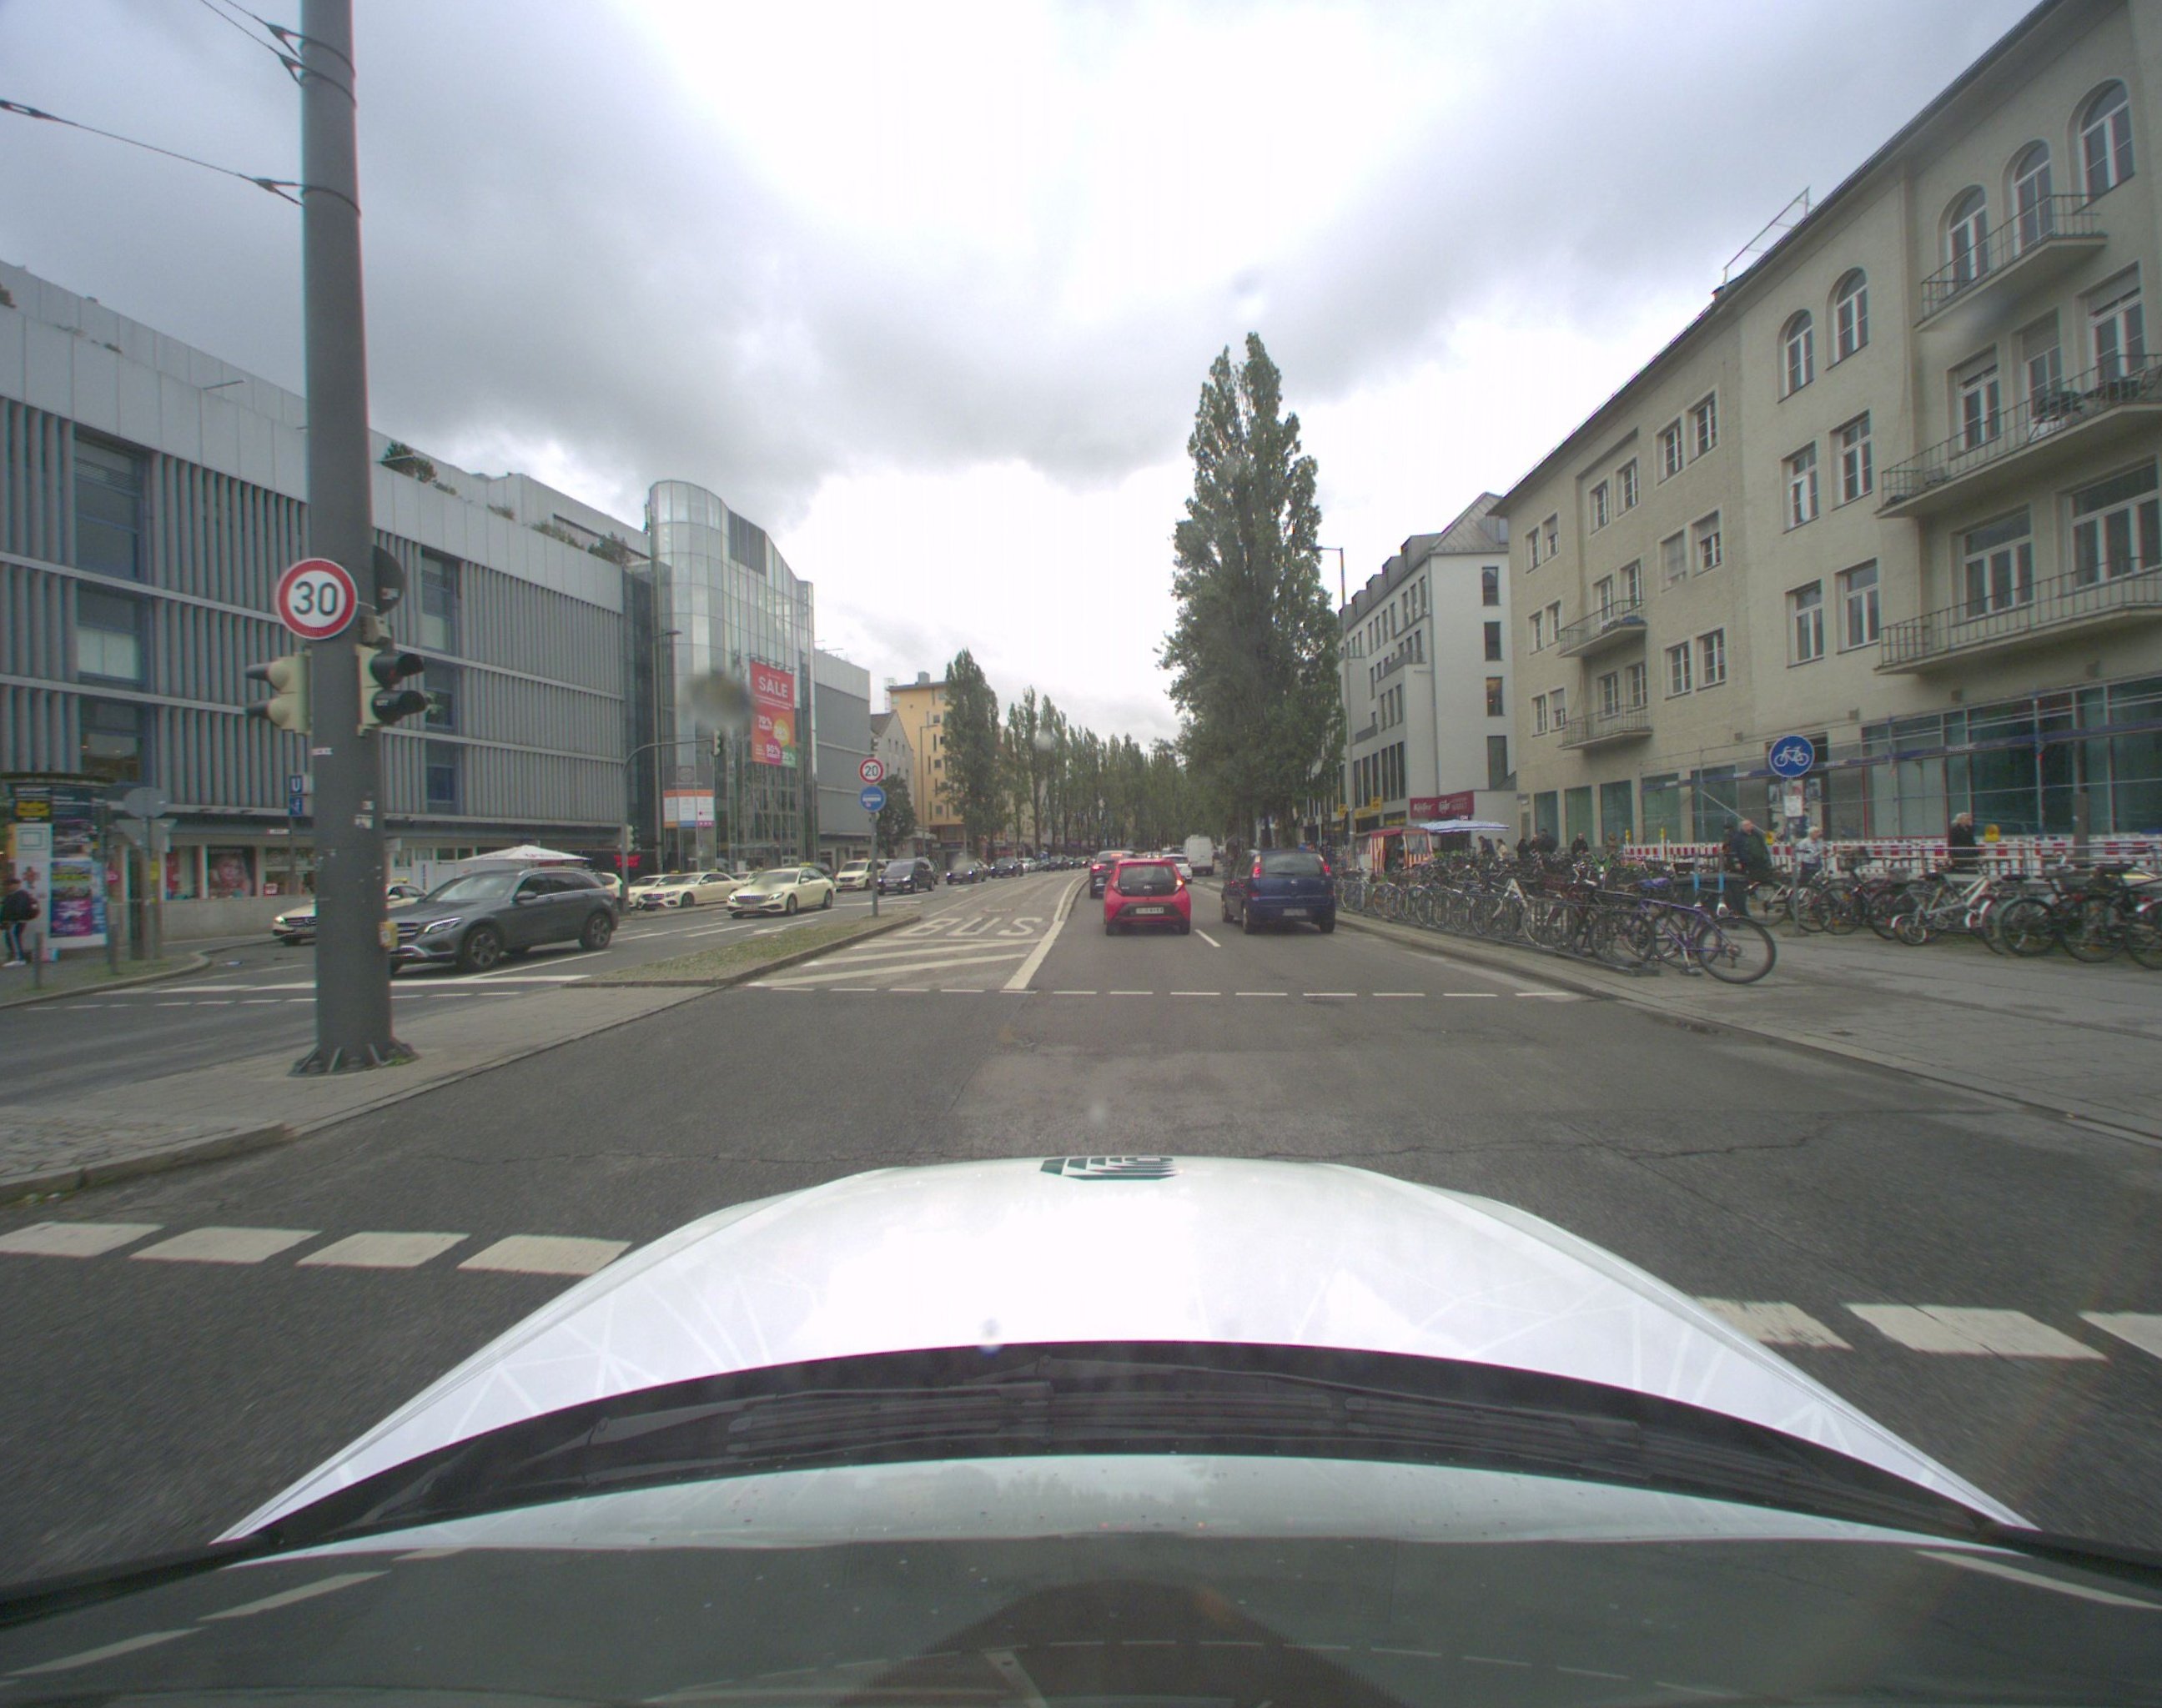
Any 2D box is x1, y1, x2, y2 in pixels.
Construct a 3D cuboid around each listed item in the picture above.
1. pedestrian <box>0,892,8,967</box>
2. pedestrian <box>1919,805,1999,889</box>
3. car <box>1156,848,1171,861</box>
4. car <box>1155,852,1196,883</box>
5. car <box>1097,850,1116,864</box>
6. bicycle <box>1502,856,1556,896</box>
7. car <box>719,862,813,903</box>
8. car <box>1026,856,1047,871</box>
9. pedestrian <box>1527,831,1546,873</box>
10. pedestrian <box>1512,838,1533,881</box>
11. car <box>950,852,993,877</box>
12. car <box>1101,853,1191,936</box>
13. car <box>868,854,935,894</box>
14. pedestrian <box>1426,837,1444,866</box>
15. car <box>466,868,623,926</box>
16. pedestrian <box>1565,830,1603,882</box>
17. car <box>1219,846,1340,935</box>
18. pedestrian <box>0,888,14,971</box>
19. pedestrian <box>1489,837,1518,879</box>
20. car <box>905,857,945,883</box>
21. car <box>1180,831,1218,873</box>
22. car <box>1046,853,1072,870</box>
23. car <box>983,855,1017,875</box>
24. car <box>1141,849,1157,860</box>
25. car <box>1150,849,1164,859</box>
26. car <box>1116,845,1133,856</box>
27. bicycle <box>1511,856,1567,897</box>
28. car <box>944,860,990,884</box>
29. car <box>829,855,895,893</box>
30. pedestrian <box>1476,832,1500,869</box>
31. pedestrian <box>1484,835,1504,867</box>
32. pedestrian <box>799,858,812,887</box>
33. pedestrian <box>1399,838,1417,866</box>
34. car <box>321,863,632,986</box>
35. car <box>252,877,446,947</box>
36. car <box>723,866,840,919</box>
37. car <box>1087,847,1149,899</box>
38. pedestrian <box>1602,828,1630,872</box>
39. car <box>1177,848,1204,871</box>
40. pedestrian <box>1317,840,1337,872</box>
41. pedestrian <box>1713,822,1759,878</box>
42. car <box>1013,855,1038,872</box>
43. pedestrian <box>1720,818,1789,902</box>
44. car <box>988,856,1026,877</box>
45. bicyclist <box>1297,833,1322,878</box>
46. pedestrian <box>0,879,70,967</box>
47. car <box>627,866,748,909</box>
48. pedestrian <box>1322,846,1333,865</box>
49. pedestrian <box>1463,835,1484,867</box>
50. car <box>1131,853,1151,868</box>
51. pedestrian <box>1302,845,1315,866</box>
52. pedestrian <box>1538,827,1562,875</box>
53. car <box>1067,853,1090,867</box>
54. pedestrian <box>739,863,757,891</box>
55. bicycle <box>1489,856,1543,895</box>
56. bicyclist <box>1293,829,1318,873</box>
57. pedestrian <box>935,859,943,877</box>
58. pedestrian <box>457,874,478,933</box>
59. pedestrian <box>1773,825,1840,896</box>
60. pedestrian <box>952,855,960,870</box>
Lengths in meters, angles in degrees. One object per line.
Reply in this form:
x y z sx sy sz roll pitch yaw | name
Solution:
-23.008 1.603 16.787 0.766 1.554 0.753 -2 0 6 | pedestrian
18.046 -0.152 16.754 0.748 1.650 0.758 -3 0 0 | pedestrian
12.074 0.007 118.925 1.982 1.838 4.010 -2 0 9 | car
4.689 0.636 40.887 1.693 1.426 3.498 -2 0 1 | car
3.456 0.384 110.158 1.982 1.691 4.933 -2 0 9 | car
11.454 0.560 20.819 1.127 0.963 0.370 -2 0 7 | bicycle
-14.826 1.302 38.547 1.979 1.679 4.200 -3 0 14 | car
-4.979 1.069 91.673 1.737 1.570 3.499 -2 0 7 | car
16.525 -0.082 29.560 0.501 1.484 0.468 -2 0 37 | pedestrian
15.760 0.209 29.071 0.573 1.505 0.620 -2 0 33 | pedestrian
-9.316 0.864 69.482 1.979 1.816 4.551 -5 1 14 | car
1.272 0.751 16.522 1.598 1.461 3.132 -2 0 3 | car
-8.595 0.931 39.354 1.928 1.738 4.592 -2 0 3 | car
17.720 -0.135 40.765 0.596 1.402 0.580 -2 0 2 | pedestrian
-16.978 1.299 26.097 1.893 1.543 4.396 -2 0 3 | car
17.371 0.063 28.139 0.739 1.727 0.759 -3 0 2 | pedestrian
3.871 0.659 16.467 1.696 1.589 3.558 -1 0 2 | car
-22.119 1.535 16.225 0.765 1.654 0.754 -2 0 13 | pedestrian
15.939 0.138 30.714 0.801 1.522 0.805 -2 0 35 | pedestrian
-10.259 1.016 53.822 1.616 1.552 3.390 -2 0 6 | car
8.048 -0.131 56.009 2.098 2.718 4.807 -2 0 3 | car
-2.279 0.730 85.761 1.983 1.691 4.931 1 0 7 | car
-7.515 0.999 75.740 1.982 1.609 4.544 -3 0 9 | car
11.958 0.108 143.064 1.979 1.691 4.431 -2 0 14 | car
14.180 -0.056 151.746 1.979 1.691 4.431 -2 0 14 | car
7.545 -0.643 141.208 1.979 1.691 4.431 -2 0 14 | car
11.454 0.561 20.379 1.127 0.963 0.370 -2 0 7 | bicycle
-7.337 1.150 52.674 1.835 1.382 4.608 -2 0 6 | car
-13.461 1.177 50.431 1.983 2.013 5.533 -2 1 6 | car
16.050 -0.133 32.090 0.612 1.425 0.660 -2 0 7 | pedestrian
18.505 -0.138 36.509 0.572 1.402 0.580 -2 0 2 | pedestrian
-17.947 1.209 53.055 0.553 1.817 0.630 -2 0 13 | pedestrian
18.674 -0.107 46.537 0.730 1.602 0.742 -2 0 2 | pedestrian
-10.230 1.069 14.388 1.736 1.670 4.735 -3 0 3 | car
-19.783 1.499 22.333 1.995 1.536 4.395 -2 0 -12 | car
-9.384 1.156 25.968 1.758 1.421 4.642 -2 0 3 | car
1.269 0.615 28.718 1.986 1.618 4.001 -2 0 1 | car
20.250 -0.144 30.838 0.638 1.644 0.563 -2 0 2 | pedestrian
8.313 0.414 62.081 1.696 1.662 3.558 -2 0 2 | car
13.503 0.101 44.708 0.787 1.727 0.764 -2 0 2 | pedestrian
18.966 -0.103 23.589 0.646 1.568 0.788 -2 0 3 | pedestrian
-5.891 1.011 86.869 1.846 1.816 4.009 0 0 8 | car
14.511 0.130 17.577 0.808 1.727 0.760 -3 0 9 | pedestrian
-5.772 0.946 64.160 1.983 1.534 4.597 -2 0 7 | car
8.842 0.056 31.534 0.611 1.657 1.252 -2 0 3 | bicyclist
-22.265 1.438 17.237 0.752 1.773 0.767 -2 0 -22 | pedestrian
-15.859 1.306 33.153 1.981 1.508 4.649 -2 0 11 | car
17.843 0.105 58.958 0.636 1.306 0.676 -2 0 2 | pedestrian
17.620 -0.126 36.556 0.596 1.402 0.580 -2 0 2 | pedestrian
6.260 0.695 84.304 1.763 1.439 3.946 -2 0 7 | car
17.157 0.094 61.396 0.710 1.558 0.676 -2 0 2 | pedestrian
16.421 -0.105 28.499 0.594 1.669 0.690 -2 0 37 | pedestrian
-0.326 0.711 99.252 1.982 1.691 4.933 -2 0 9 | car
-20.471 1.395 50.052 0.646 1.691 0.714 -2 0 15 | pedestrian
11.469 0.571 21.469 1.175 0.963 0.370 -2 0 5 | bicycle
9.850 -0.122 35.745 0.759 1.869 1.133 -2 0 2 | bicyclist
-15.753 1.547 90.218 0.685 1.997 0.765 -2 0 0 | pedestrian
-18.508 1.490 24.572 0.441 1.759 0.358 -2 0 37 | pedestrian
16.316 0.135 18.333 0.775 1.517 0.758 -3 0 0 | pedestrian
-15.329 0.996 99.792 0.682 1.810 0.768 -2 0 14 | pedestrian
